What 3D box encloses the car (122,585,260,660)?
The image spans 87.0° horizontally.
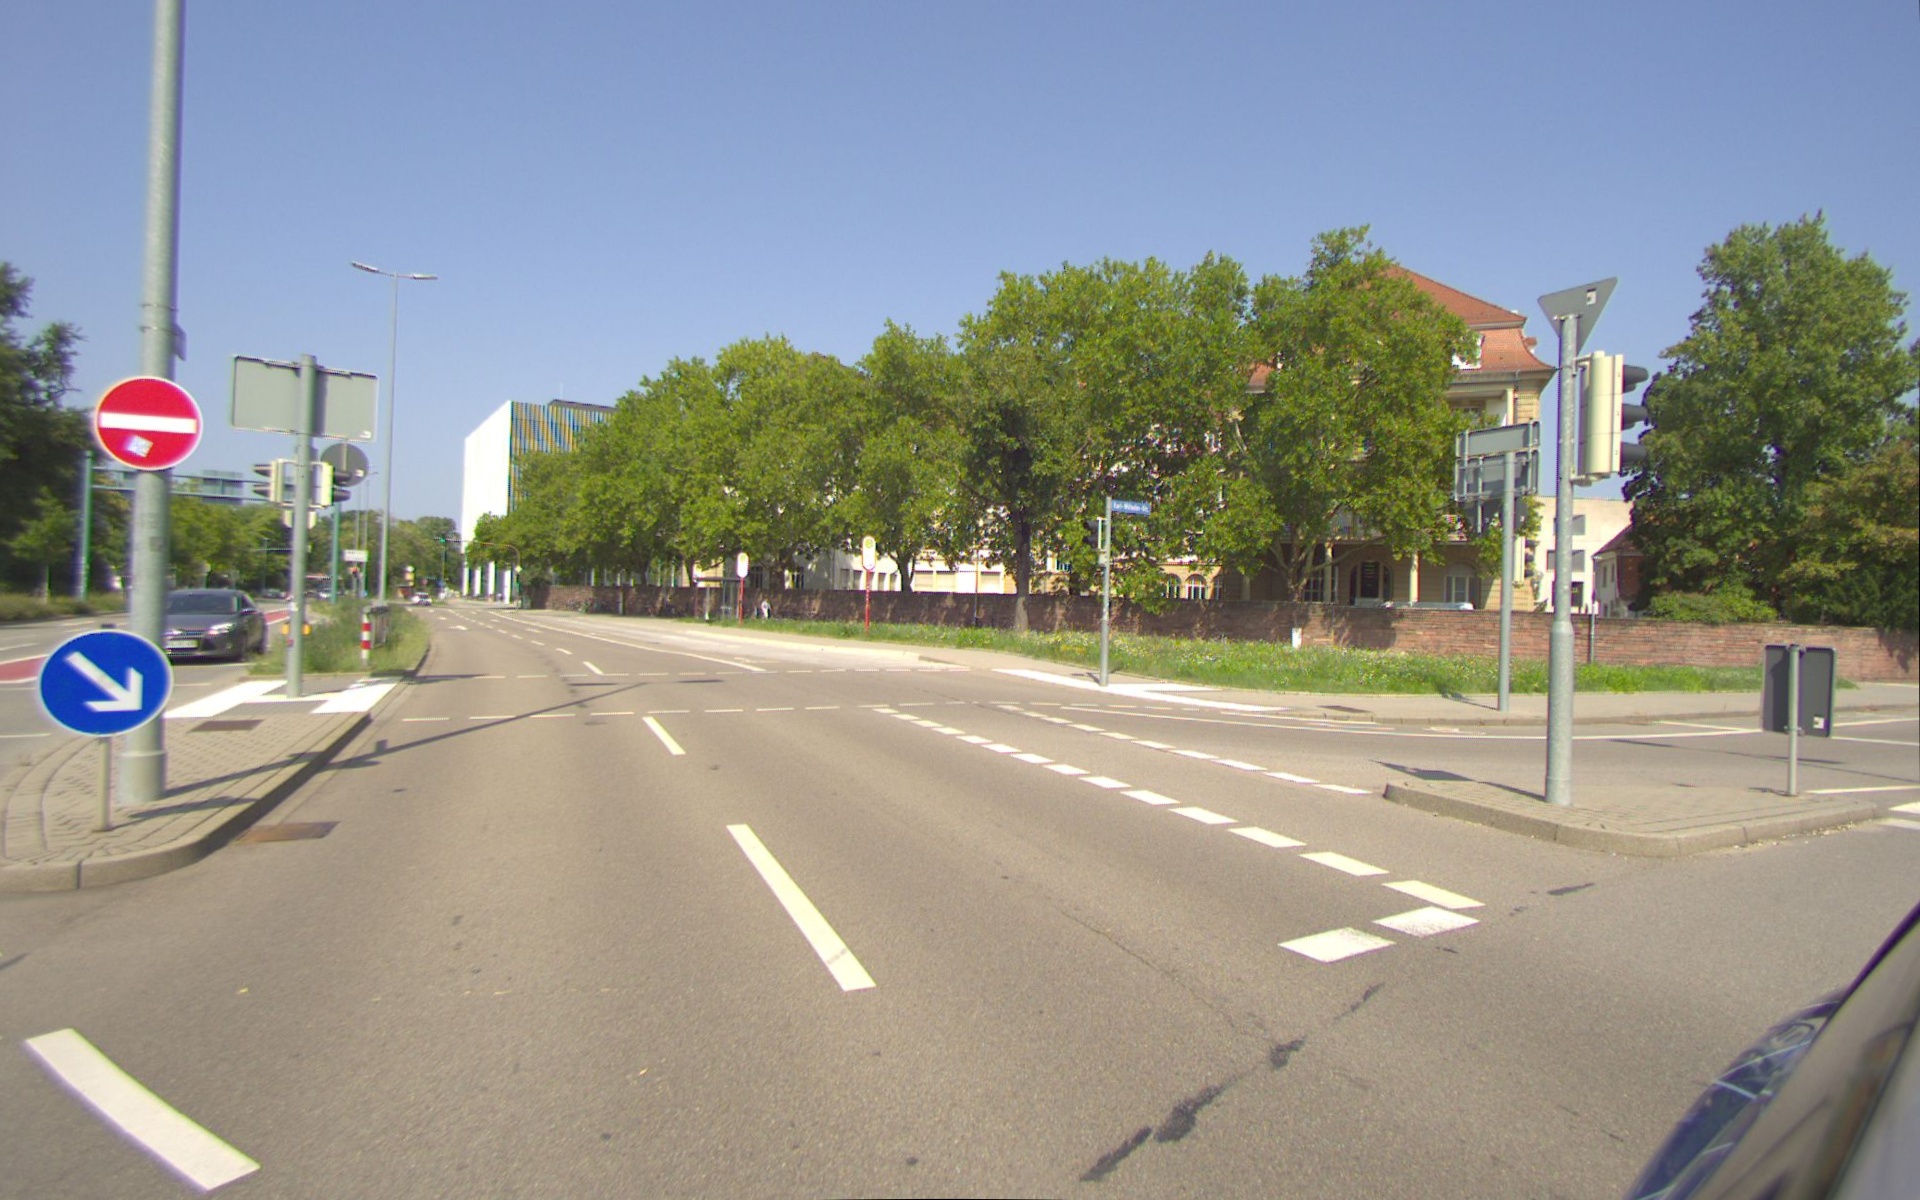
[{"bbox_3d":[-15.408,0.394,20.456,1.756,1.374,3.428,0,1,-29],"label":"car"}]

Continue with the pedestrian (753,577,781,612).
[{"bbox_3d":[-11.849,-0.339,62.043,1.228,2.039,1.057,2,-1,38],"label":"pedestrian"}]

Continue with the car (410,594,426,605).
[{"bbox_3d":[-62.244,-0.063,116.263,1.558,1.151,3.268,3,0,-29],"label":"car"}]

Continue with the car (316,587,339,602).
[{"bbox_3d":[-72.238,-0.632,115.555,1.959,1.700,4.005,2,0,-29],"label":"car"}]

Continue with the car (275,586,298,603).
[{"bbox_3d":[-79.117,-0.657,118.928,2.043,1.941,4.198,2,0,-32],"label":"car"}]
